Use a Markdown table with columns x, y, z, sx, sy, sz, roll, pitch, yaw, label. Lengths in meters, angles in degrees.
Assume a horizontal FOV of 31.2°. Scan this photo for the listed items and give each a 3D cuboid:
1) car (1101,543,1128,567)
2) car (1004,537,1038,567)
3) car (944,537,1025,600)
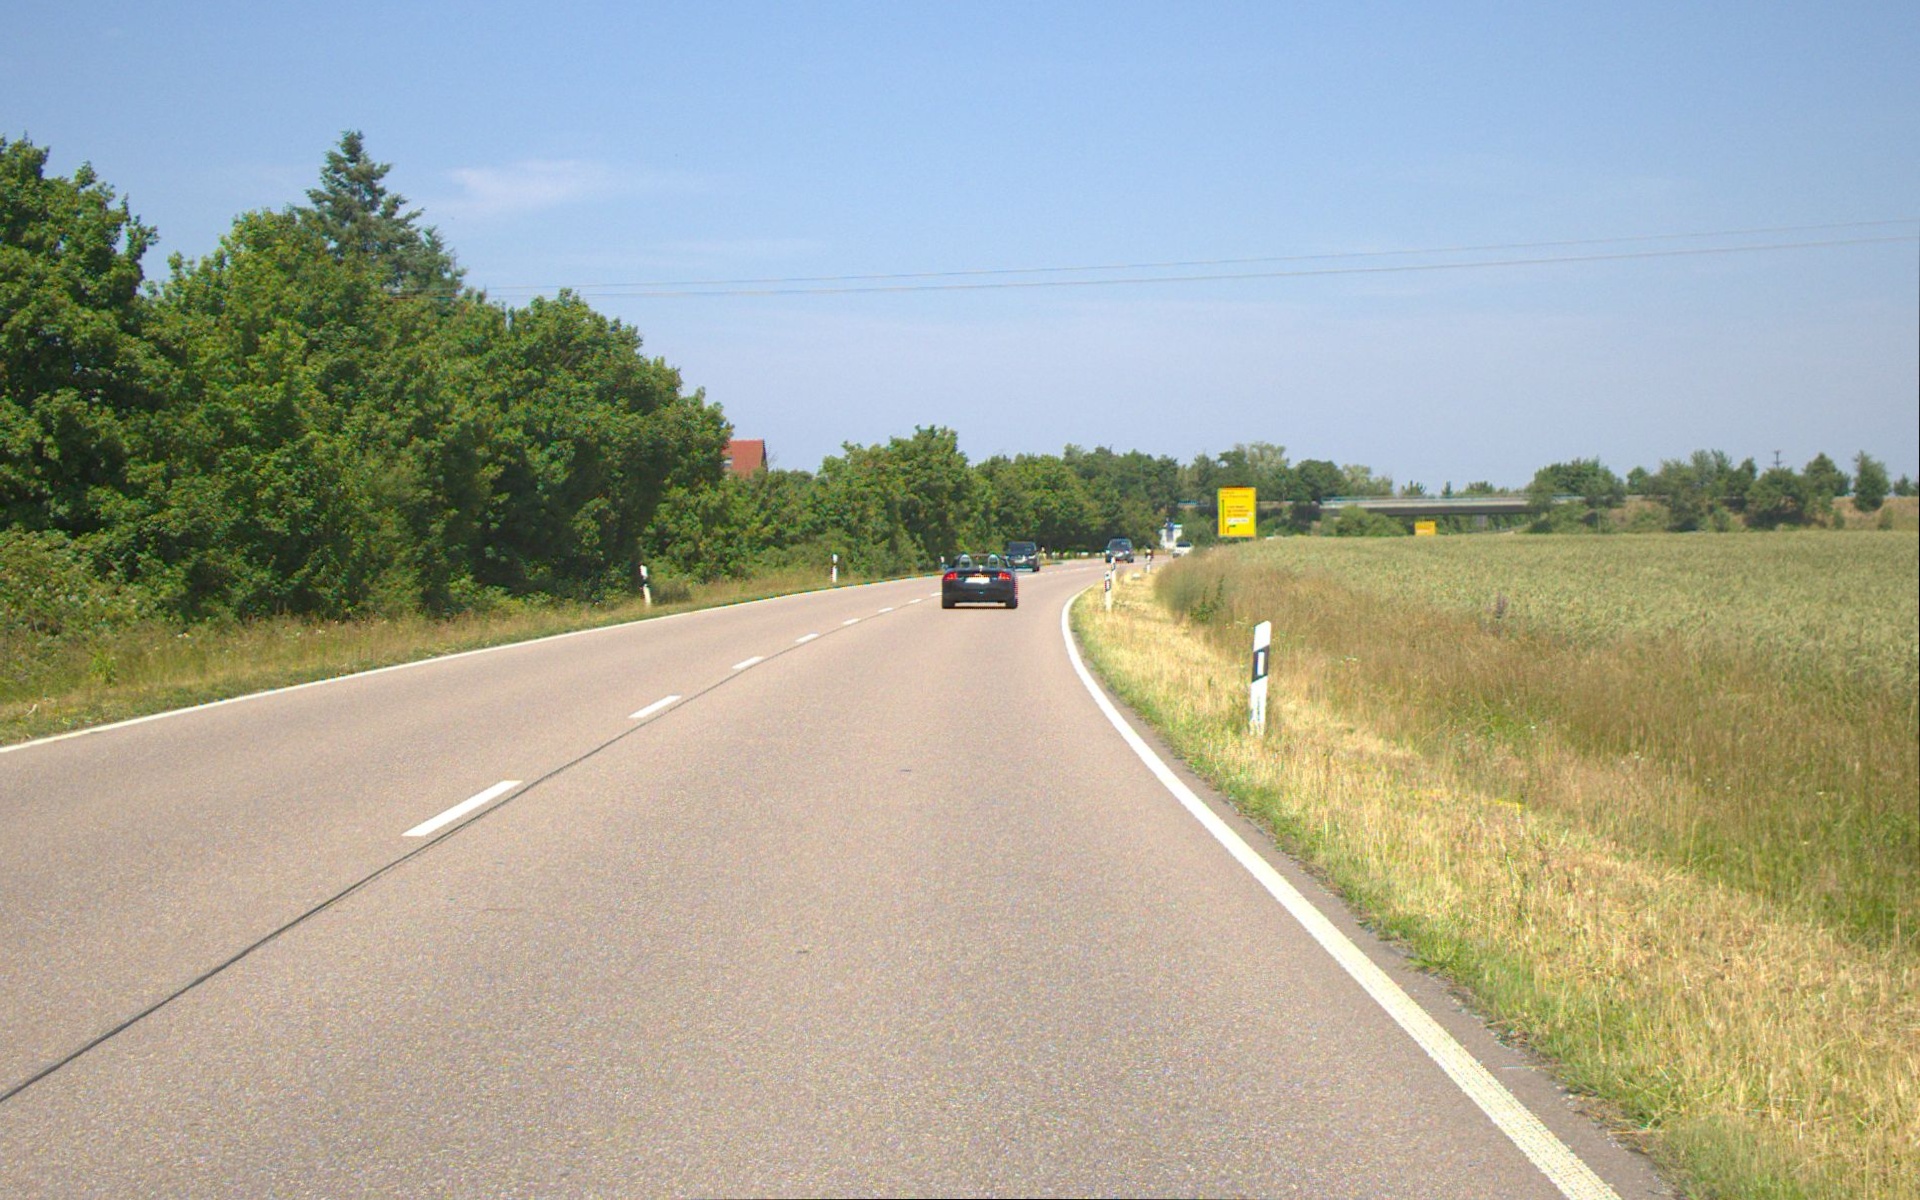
| x | y | z | sx | sy | sz | roll | pitch | yaw | label |
| --- | --- | --- | --- | --- | --- | --- | --- | --- | --- |
| 11.362 | -3.338 | 252.906 | 1.819 | 1.695 | 5.001 | 0 | 1 | 4 | car |
| 3.250 | -2.539 | 182.022 | 1.699 | 1.561 | 3.671 | 1 | 1 | 2 | car |
| 0.605 | -0.767 | 81.906 | 1.814 | 1.436 | 4.000 | 1 | 1 | 1 | car |
